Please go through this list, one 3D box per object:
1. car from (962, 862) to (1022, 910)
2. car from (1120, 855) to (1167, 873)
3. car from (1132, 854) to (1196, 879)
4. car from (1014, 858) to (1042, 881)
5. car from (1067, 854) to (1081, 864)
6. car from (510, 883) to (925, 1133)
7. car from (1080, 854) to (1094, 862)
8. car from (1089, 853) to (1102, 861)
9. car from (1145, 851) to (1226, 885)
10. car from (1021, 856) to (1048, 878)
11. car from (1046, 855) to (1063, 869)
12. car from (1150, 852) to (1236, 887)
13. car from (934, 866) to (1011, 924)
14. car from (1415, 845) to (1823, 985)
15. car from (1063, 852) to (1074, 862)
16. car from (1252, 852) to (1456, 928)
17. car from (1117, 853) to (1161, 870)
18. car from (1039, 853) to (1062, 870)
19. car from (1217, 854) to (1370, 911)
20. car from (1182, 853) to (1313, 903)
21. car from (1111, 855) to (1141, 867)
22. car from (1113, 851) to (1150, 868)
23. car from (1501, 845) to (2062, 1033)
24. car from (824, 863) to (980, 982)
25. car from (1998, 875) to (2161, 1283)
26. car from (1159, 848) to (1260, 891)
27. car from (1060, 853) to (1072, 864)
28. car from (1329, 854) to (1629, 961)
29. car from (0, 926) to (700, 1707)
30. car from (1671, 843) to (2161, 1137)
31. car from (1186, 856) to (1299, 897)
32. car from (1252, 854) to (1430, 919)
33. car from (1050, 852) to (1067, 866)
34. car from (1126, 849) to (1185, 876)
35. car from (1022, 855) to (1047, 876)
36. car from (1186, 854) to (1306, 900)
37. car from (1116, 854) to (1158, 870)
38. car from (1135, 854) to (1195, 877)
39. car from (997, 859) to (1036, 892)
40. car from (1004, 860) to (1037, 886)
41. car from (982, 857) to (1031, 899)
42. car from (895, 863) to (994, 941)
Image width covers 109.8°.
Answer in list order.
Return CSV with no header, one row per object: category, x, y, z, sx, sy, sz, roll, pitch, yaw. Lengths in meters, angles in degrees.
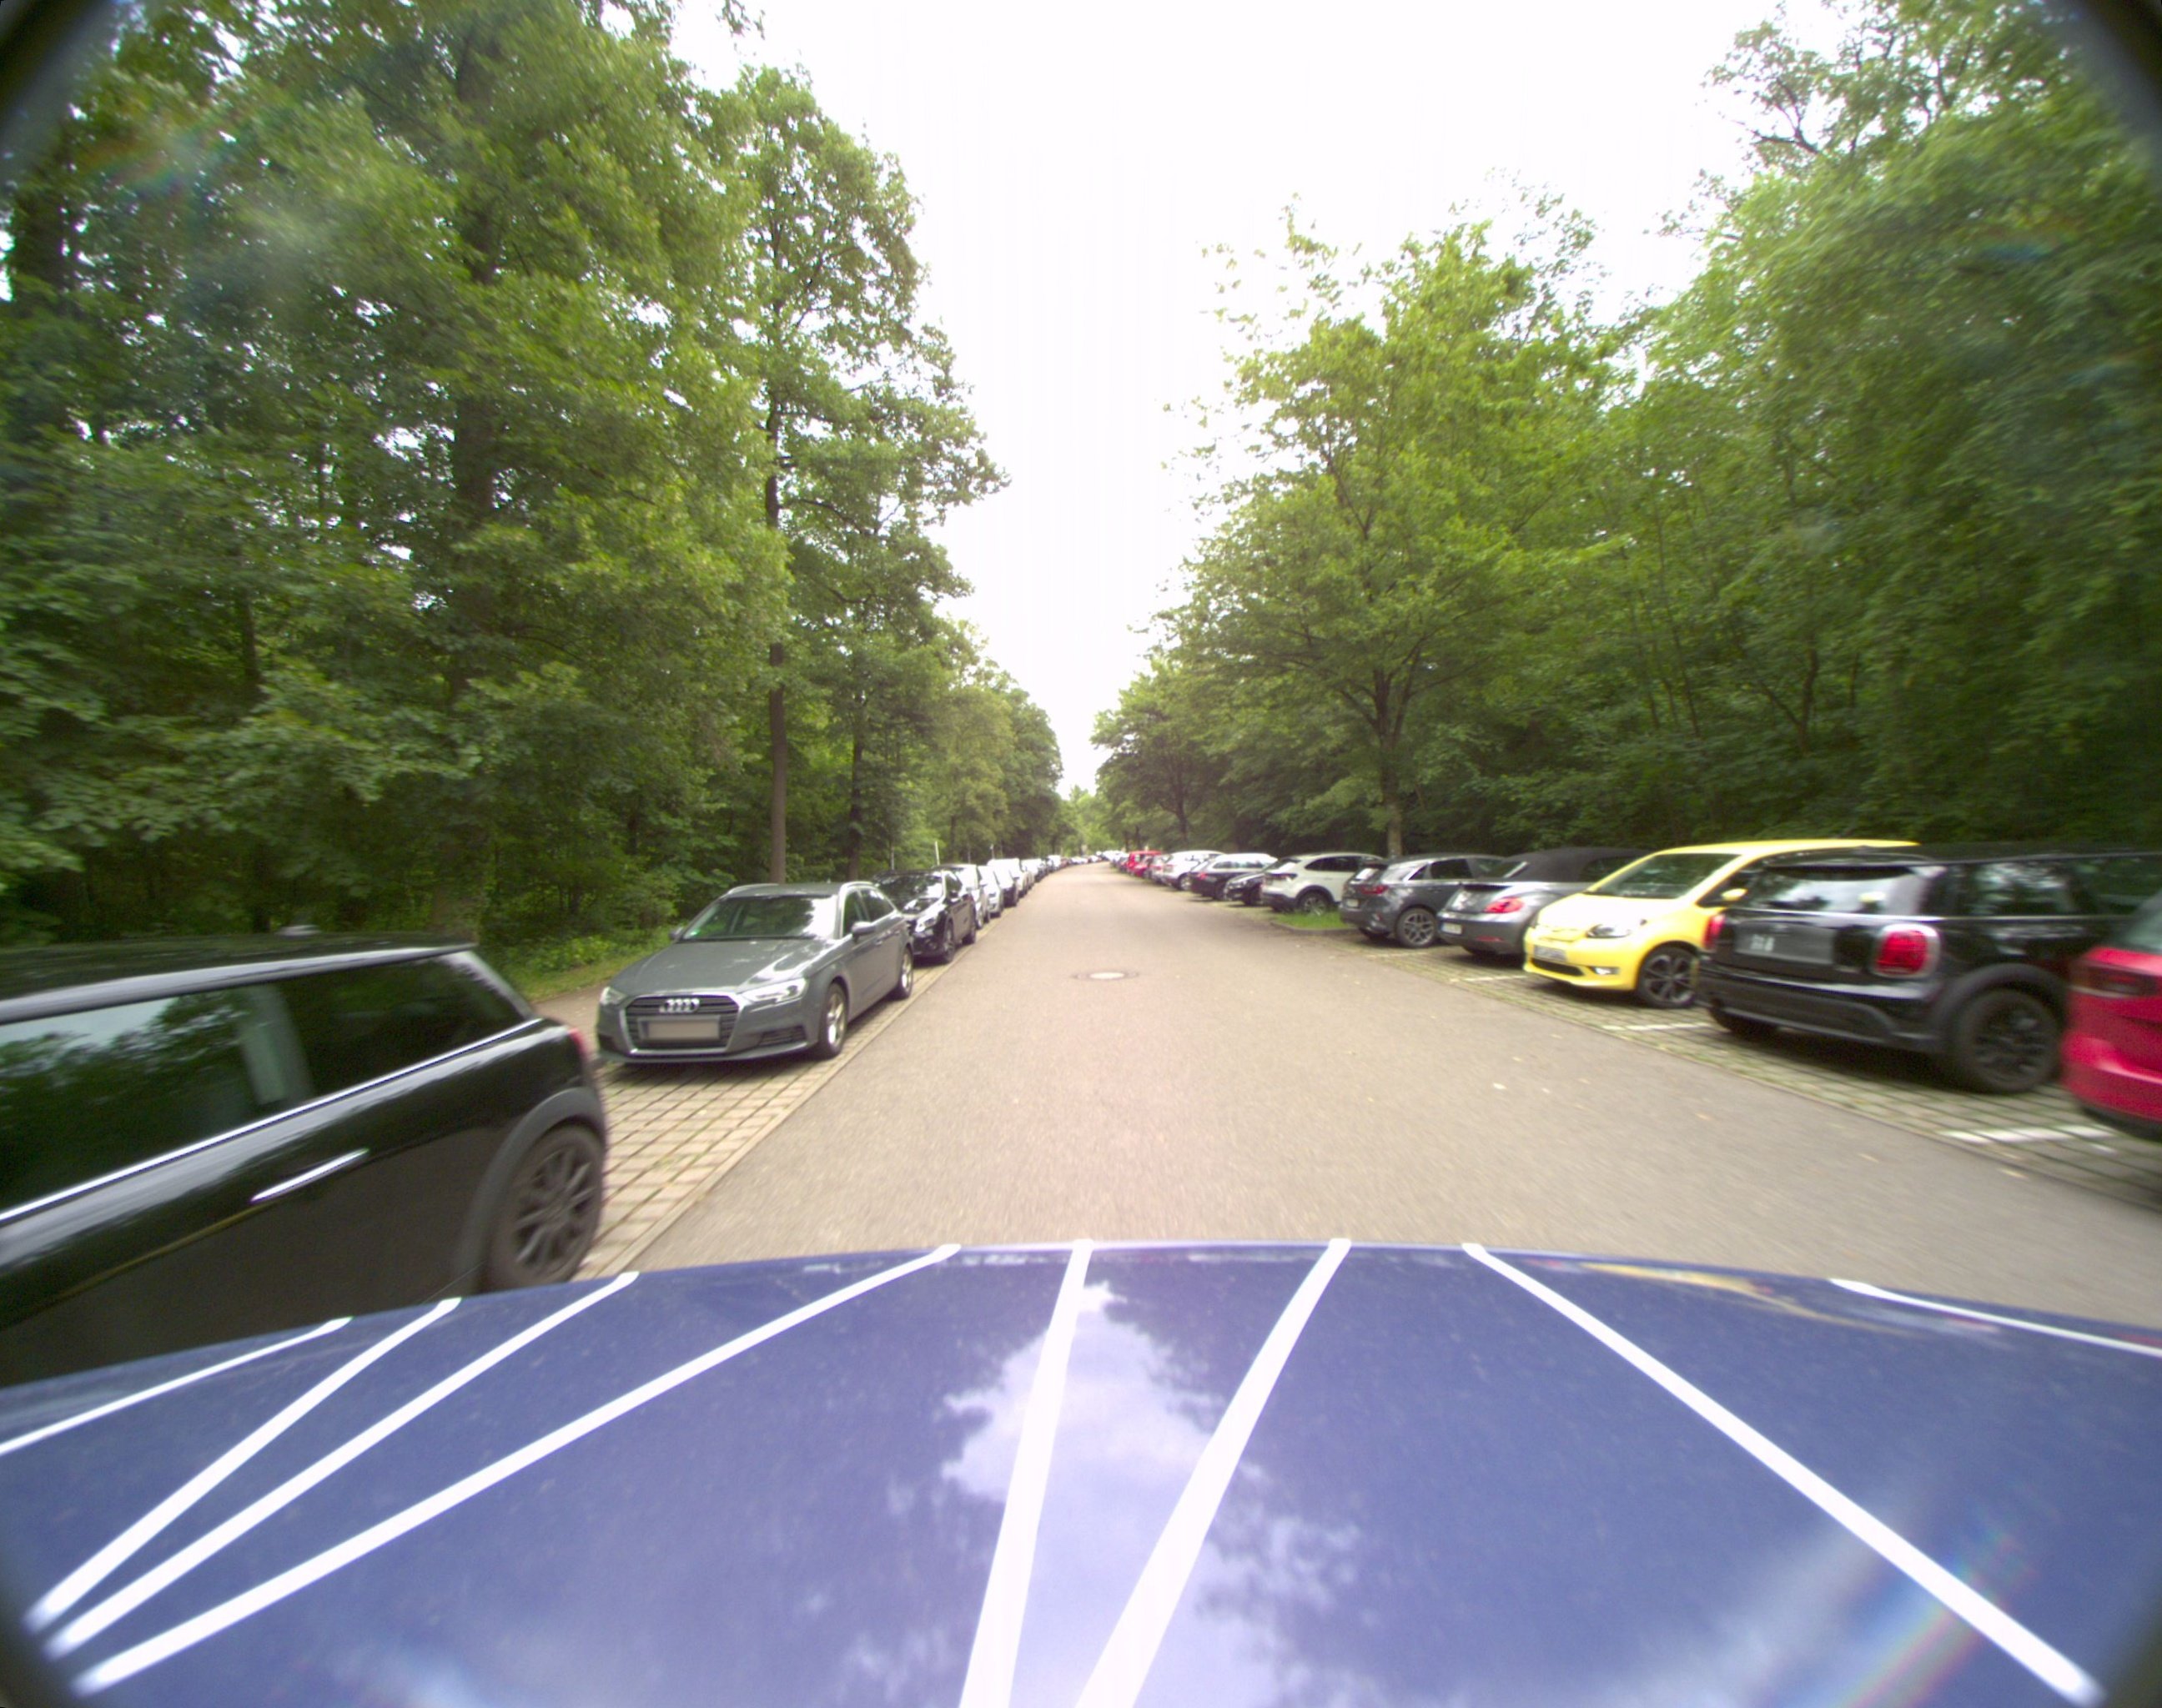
car,-3.103,1.087,27.313,1.741,1.465,4.604,-3,0,-2
car,5.347,0.830,65.381,3.996,1.413,1.742,-2,0,2
car,5.447,0.798,50.259,3.997,1.507,1.771,-2,0,0
car,-3.586,1.038,51.976,1.741,1.426,4.744,-3,0,-2
car,-1.136,0.811,126.240,1.501,1.470,3.669,-3,0,12
car,-2.889,1.116,7.326,1.740,1.423,4.502,-3,0,0
car,1.127,0.782,142.310,1.771,1.308,3.893,-3,1,13
car,3.007,0.574,153.262,1.771,1.308,3.893,-3,1,13
car,5.490,0.725,40.296,3.998,1.652,1.696,-1,0,-2
car,-3.462,0.953,57.495,1.843,1.551,4.423,-3,0,-2
car,-3.087,0.926,90.397,1.580,1.610,3.963,-3,0,4
car,5.529,0.754,37.828,3.997,1.652,1.814,-1,0,0
car,-3.103,1.125,22.472,1.741,1.416,4.153,-3,0,-2
car,6.714,0.720,9.801,3.997,1.430,1.733,-3,0,-1
car,-1.901,0.501,119.541,1.502,1.470,3.666,-3,0,2
car,6.162,0.782,17.455,3.997,1.458,1.715,-3,0,-1
car,5.741,0.769,75.286,4.222,1.528,1.818,-2,0,-1
car,-3.158,0.747,79.038,1.909,1.713,4.486,-3,0,4
car,6.169,0.816,22.405,3.997,1.427,1.677,-3,0,1
car,5.505,0.778,25.472,3.997,1.427,1.677,-3,0,1
car,6.369,1.022,107.792,3.998,1.469,1.713,-2,0,-4
car,5.776,0.617,87.795,3.998,1.717,1.713,-2,0,-4
car,6.605,0.750,7.478,3.997,1.430,1.617,-3,0,-1
car,-2.859,1.013,13.128,1.741,1.579,4.381,-3,0,-2
car,5.981,0.748,2.449,3.998,1.467,1.779,-3,0,-3
car,5.515,0.655,32.986,3.998,1.652,1.814,-2,0,-2
car,-2.130,0.642,107.642,1.502,1.470,3.666,-3,0,2
car,6.396,0.822,12.526,3.997,1.430,1.715,-3,0,-1
car,-2.876,1.122,1.676,1.740,1.423,4.501,-3,0,0
car,6.585,0.730,5.090,3.998,1.430,1.671,-3,0,-3
car,6.347,0.868,30.167,3.998,1.413,1.814,-3,0,-2
car,6.680,0.807,19.817,3.997,1.427,1.702,-3,0,1
car,-2.840,0.616,95.745,1.642,1.742,4.055,-3,0,4
car,5.380,0.632,55.200,3.997,1.804,1.818,-2,0,-1
car,-3.773,0.938,62.605,1.907,1.577,4.480,-3,0,-2
car,5.974,0.814,27.842,3.997,1.427,1.648,-2,2,1
car,5.705,0.809,77.719,3.999,1.508,1.713,-2,0,-6
car,5.847,0.788,53.224,3.997,1.507,1.818,-2,0,0
car,-3.288,1.067,39.618,1.741,1.471,4.768,-3,0,-2
car,-3.557,1.090,45.276,1.741,1.398,4.426,-3,0,-2
car,-3.178,0.973,33.322,1.741,1.634,5.071,-3,0,-2
car,-3.158,1.043,18.303,1.741,1.559,4.007,-3,0,-2
